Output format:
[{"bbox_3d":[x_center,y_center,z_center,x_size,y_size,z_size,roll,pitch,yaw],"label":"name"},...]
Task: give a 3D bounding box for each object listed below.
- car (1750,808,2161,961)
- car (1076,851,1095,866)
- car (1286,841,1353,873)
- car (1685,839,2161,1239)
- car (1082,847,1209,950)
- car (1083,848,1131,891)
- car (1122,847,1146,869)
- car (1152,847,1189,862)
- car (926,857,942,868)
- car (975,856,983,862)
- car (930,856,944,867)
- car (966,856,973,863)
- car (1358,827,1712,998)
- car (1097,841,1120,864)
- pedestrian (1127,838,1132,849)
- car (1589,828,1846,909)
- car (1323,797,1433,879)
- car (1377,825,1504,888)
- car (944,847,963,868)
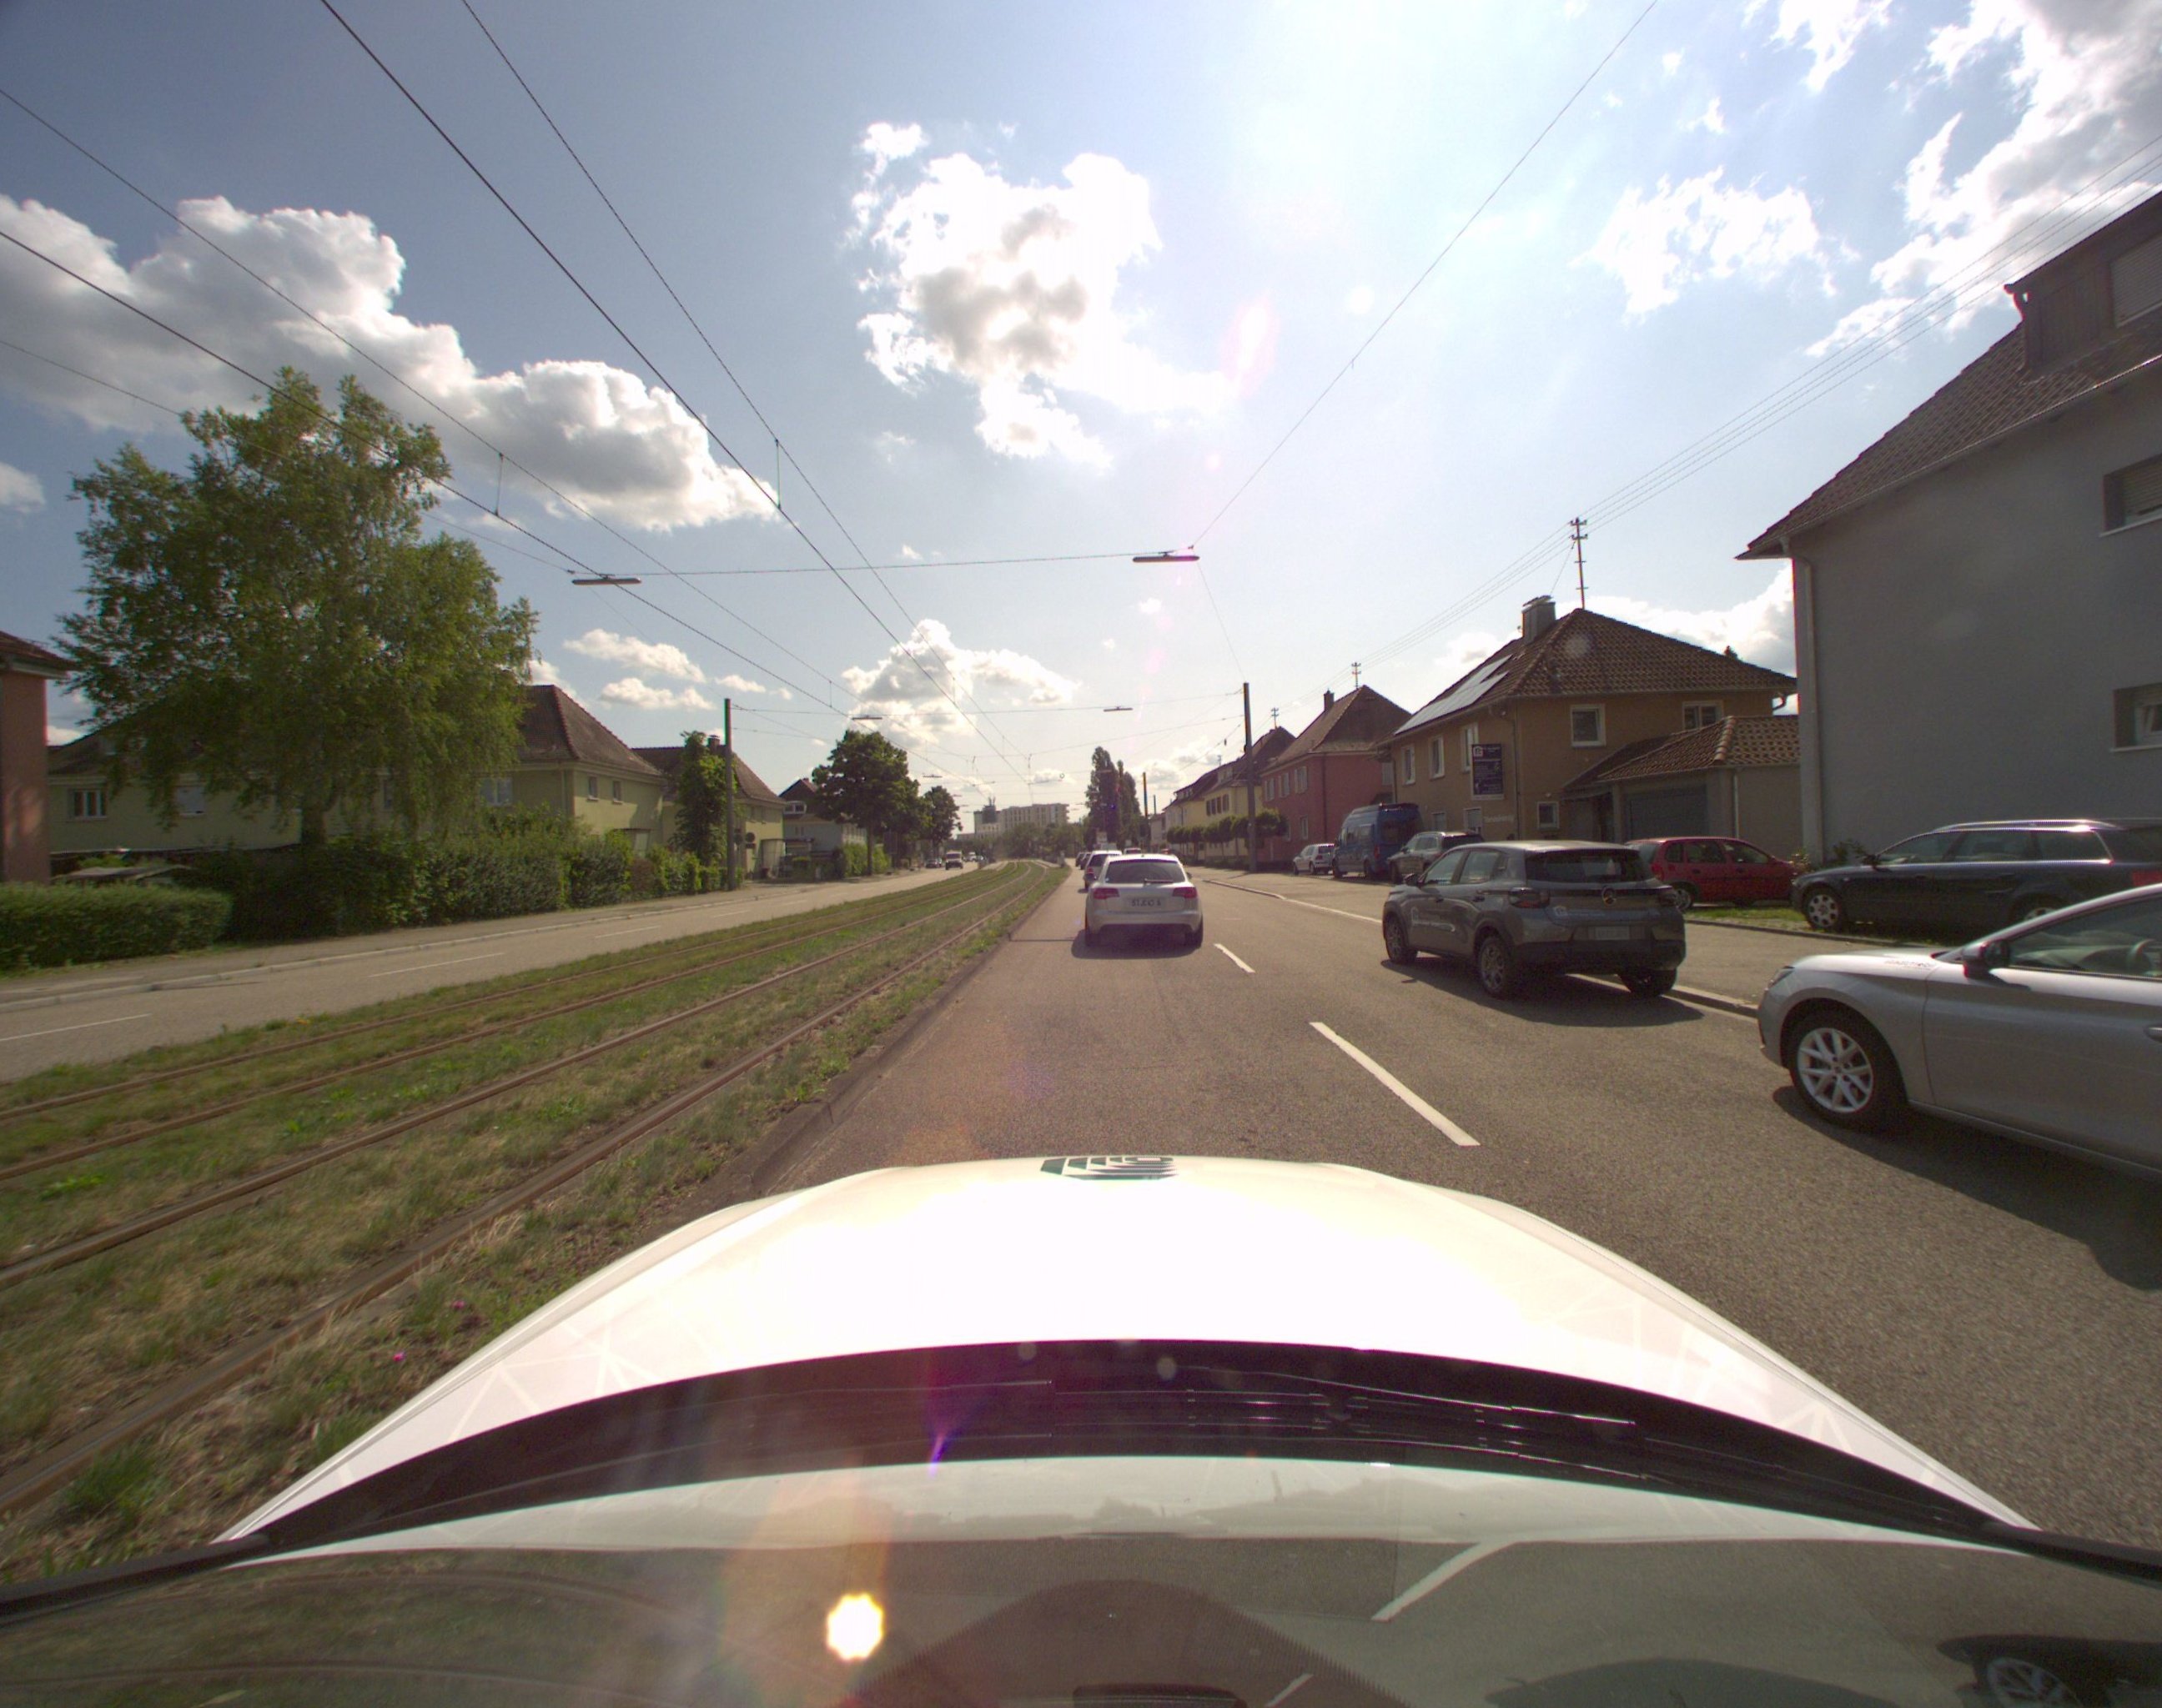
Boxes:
[{"bbox_3d":[11.071,0.247,9.974,1.792,1.423,4.858,-3,0,1],"label":"car"},{"bbox_3d":[0.484,0.509,85.844,1.878,1.530,4.096,-1,0,2],"label":"car"},{"bbox_3d":[11.373,0.157,39.157,1.645,1.409,4.345,-3,0,-4],"label":"car"},{"bbox_3d":[4.828,0.662,3.001,1.808,1.454,4.644,-1,0,1],"label":"car"},{"bbox_3d":[1.074,0.662,14.345,1.847,1.492,4.539,-1,0,3],"label":"car"},{"bbox_3d":[1.013,0.574,32.410,1.781,1.577,4.095,0,0,1],"label":"car"},{"bbox_3d":[4.543,0.287,68.883,1.876,1.731,4.100,-2,0,5],"label":"car"},{"bbox_3d":[10.107,-0.001,91.839,4.117,1.457,1.892,-4,2,-45],"label":"car"},{"bbox_3d":[-22.438,1.225,124.192,1.782,1.584,3.927,-2,0,-3],"label":"car"},{"bbox_3d":[-25.248,1.163,201.887,1.895,1.541,3.718,-1,0,-8],"label":"car"},{"bbox_3d":[-23.012,1.218,130.390,2.060,1.614,4.737,-2,0,-10],"label":"car"},{"bbox_3d":[-29.512,1.454,215.462,1.862,1.651,3.988,-1,0,-9],"label":"car"},{"bbox_3d":[4.930,0.549,9.663,1.801,1.559,4.252,-1,0,-1],"label":"car"},{"bbox_3d":[3.174,-0.225,95.468,2.038,2.557,5.222,-2,0,-5],"label":"car"},{"bbox_3d":[8.621,-1.895,144.788,0.720,1.782,0.702,-4,0,-3],"label":"pedestrian"},{"bbox_3d":[12.191,0.278,15.754,3.638,1.380,1.726,-2,-1,-2],"label":"car"},{"bbox_3d":[11.546,-0.553,32.263,2.144,2.930,6.245,-1,0,1],"label":"car"},{"bbox_3d":[11.282,0.041,26.012,1.830,1.711,4.863,-4,0,0],"label":"car"},{"bbox_3d":[-16.086,0.456,103.003,2.195,2.372,5.318,-3,0,-8],"label":"car"}]
